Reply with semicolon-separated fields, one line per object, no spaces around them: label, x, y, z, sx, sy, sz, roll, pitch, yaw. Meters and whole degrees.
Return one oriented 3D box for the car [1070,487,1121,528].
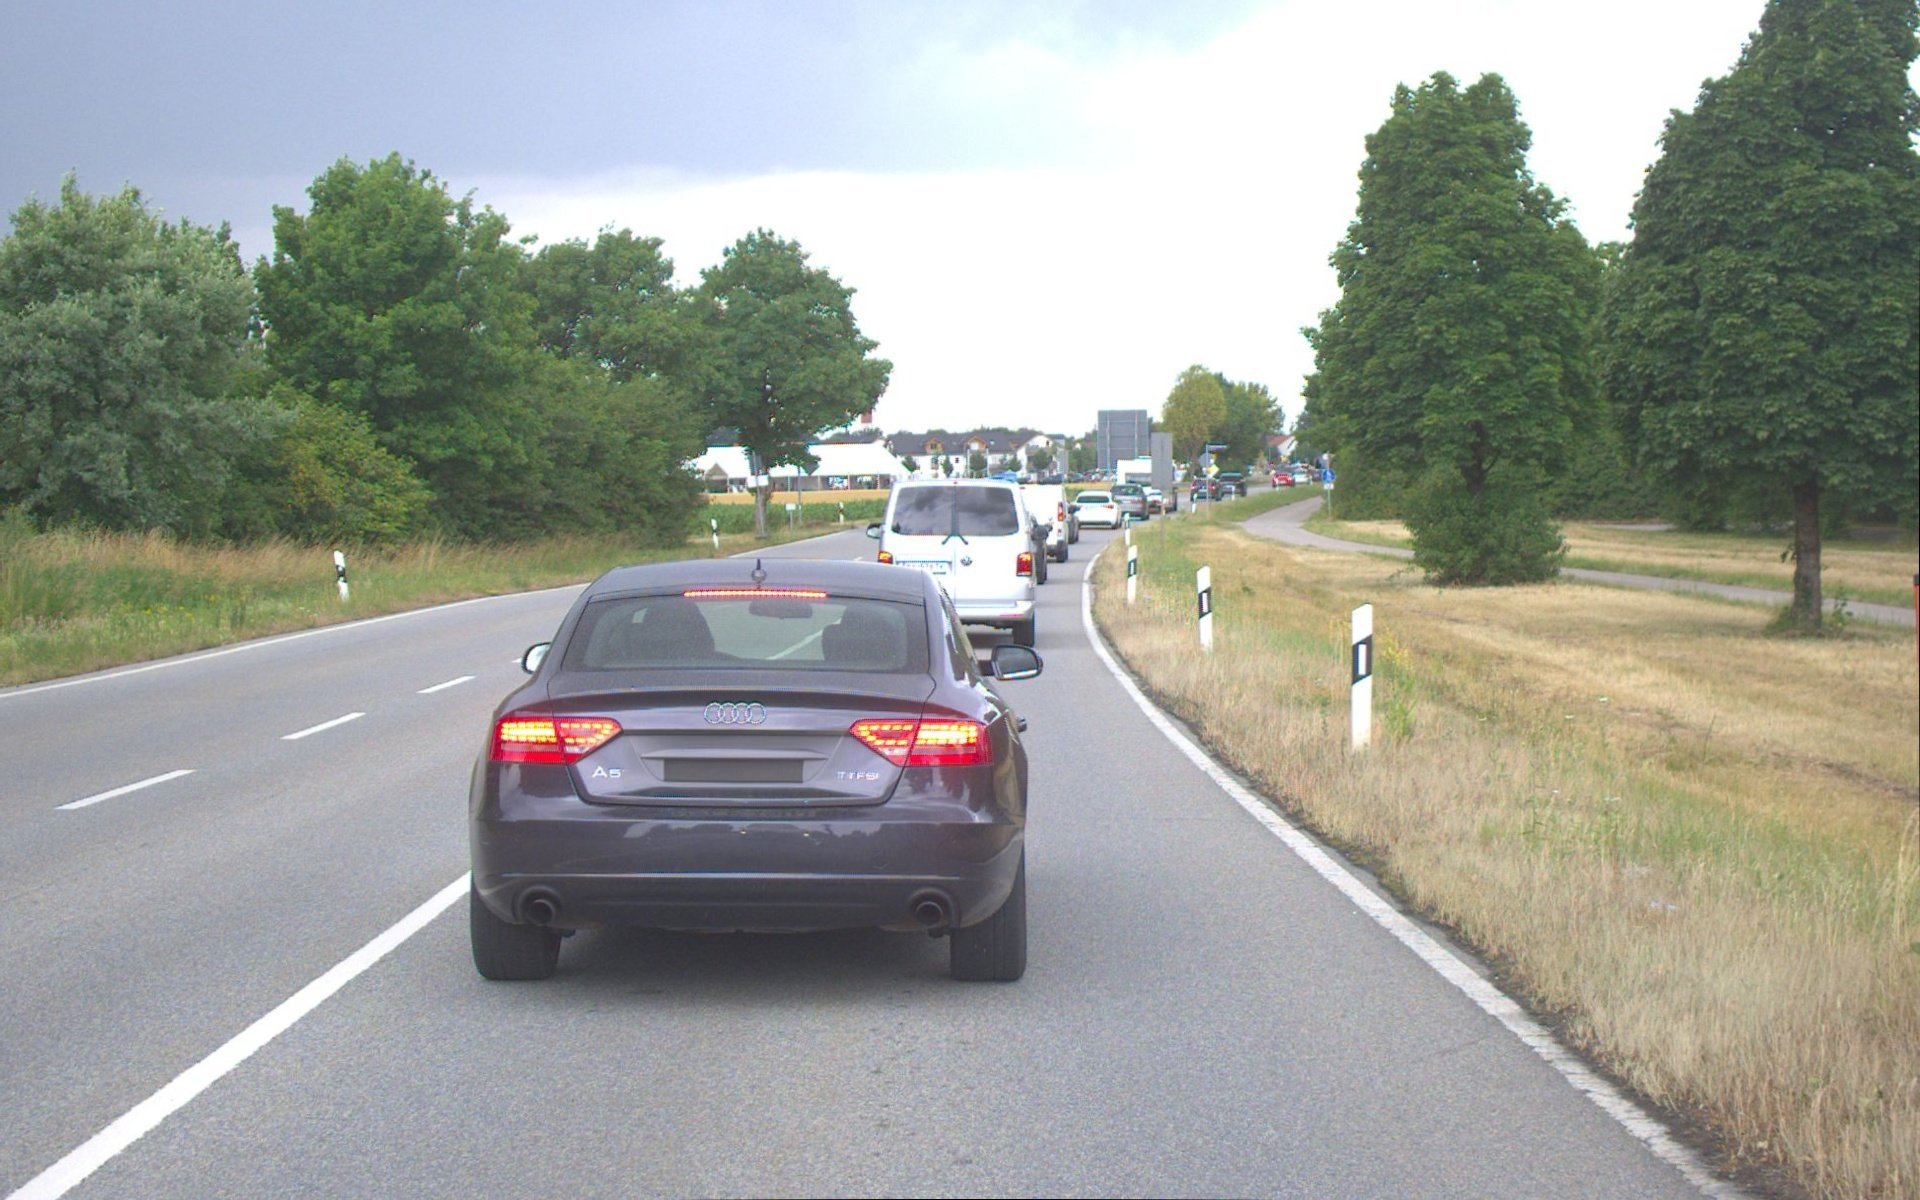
car;5.091;-3.482;129.001;1.736;1.509;3.746;0;2;5

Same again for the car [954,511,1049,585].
car;0.859;-1.066;69.285;1.795;1.459;3.248;0;2;3

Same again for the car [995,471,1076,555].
car;1.938;-2.213;87.372;1.993;2.081;4.000;0;2;2

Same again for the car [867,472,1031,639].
car;-0.162;-0.580;40.929;1.838;1.876;4.001;0;2;-1

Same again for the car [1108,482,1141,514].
car;7.063;-4.393;147.510;1.258;1.349;3.465;0;2;5

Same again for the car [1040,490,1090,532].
car;3.275;-2.771;107.222;1.535;1.273;3.747;0;2;2

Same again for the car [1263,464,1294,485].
car;22.681;-8.945;244.965;1.821;1.487;4.000;1;2;0

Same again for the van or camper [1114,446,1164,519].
van or camper;8.643;-5.669;166.323;2.340;3.469;5.718;0;2;2

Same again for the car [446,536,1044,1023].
car;-0.684;0.504;12.303;1.782;1.372;4.001;0;2;-1

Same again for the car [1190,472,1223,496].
car;15.176;-7.121;211.951;1.719;1.446;4.000;1;2;0

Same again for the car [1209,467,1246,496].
car;15.311;-6.778;196.996;1.821;1.591;4.000;1;2;0
